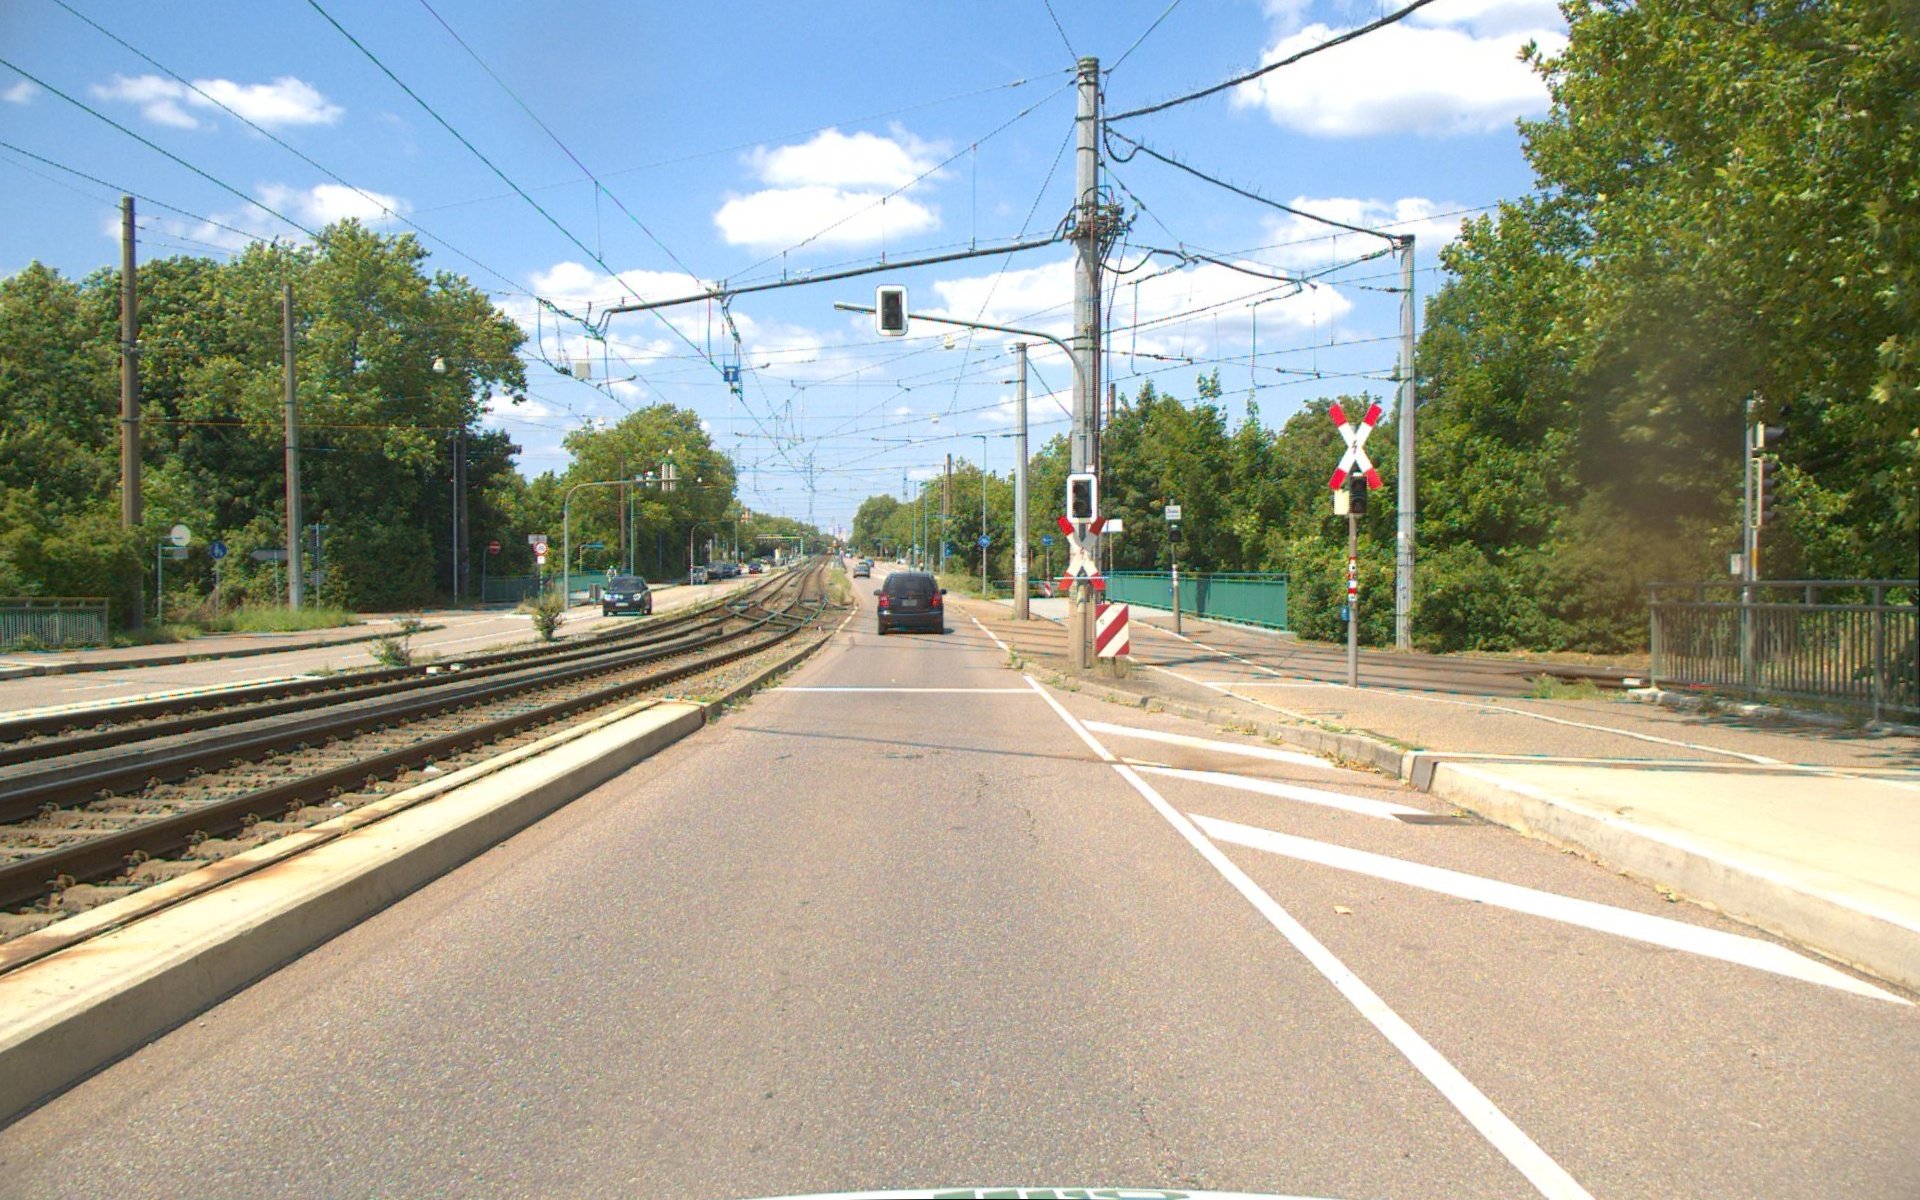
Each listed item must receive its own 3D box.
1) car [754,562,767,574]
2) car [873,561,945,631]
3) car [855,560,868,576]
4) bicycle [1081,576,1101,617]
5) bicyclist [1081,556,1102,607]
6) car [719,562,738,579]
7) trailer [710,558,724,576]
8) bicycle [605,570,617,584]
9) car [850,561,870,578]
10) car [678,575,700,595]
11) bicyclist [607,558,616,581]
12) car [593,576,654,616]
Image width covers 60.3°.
[{"bbox_3d":[-30.032,-4.869,249.227,1.838,1.750,5.325,0,1,-5],"label":"car"},{"bbox_3d":[-1.325,-0.141,44.262,1.815,1.597,4.389,1,3,-1],"label":"car"},{"bbox_3d":[-13.904,-4.546,232.613,1.751,2.048,3.998,1,3,-4],"label":"car"},{"bbox_3d":[3.972,-0.117,50.210,0.423,1.172,1.855,1,3,0],"label":"bicycle"},{"bbox_3d":[3.979,-0.558,50.222,0.573,1.520,0.558,1,2,0],"label":"bicyclist"},{"bbox_3d":[-29.366,-3.713,209.889,1.954,2.049,3.997,0,1,-3],"label":"car"},{"bbox_3d":[-28.629,-3.876,194.888,1.579,2.048,3.910,1,2,-7],"label":"trailer"},{"bbox_3d":[-22.352,-1.490,105.967,0.459,0.883,1.742,0,1,-2],"label":"bicycle"},{"bbox_3d":[-11.175,-3.436,185.103,1.846,1.668,4.001,3,2,-1],"label":"car"},{"bbox_3d":[-26.032,-1.453,159.047,1.687,1.658,4.612,-3,3,-5],"label":"car"},{"bbox_3d":[-22.354,-1.952,106.083,0.447,1.499,0.633,0,1,-2],"label":"bicyclist"},{"bbox_3d":[-13.671,-0.188,67.351,1.670,1.536,3.733,-1,1,0],"label":"car"}]
